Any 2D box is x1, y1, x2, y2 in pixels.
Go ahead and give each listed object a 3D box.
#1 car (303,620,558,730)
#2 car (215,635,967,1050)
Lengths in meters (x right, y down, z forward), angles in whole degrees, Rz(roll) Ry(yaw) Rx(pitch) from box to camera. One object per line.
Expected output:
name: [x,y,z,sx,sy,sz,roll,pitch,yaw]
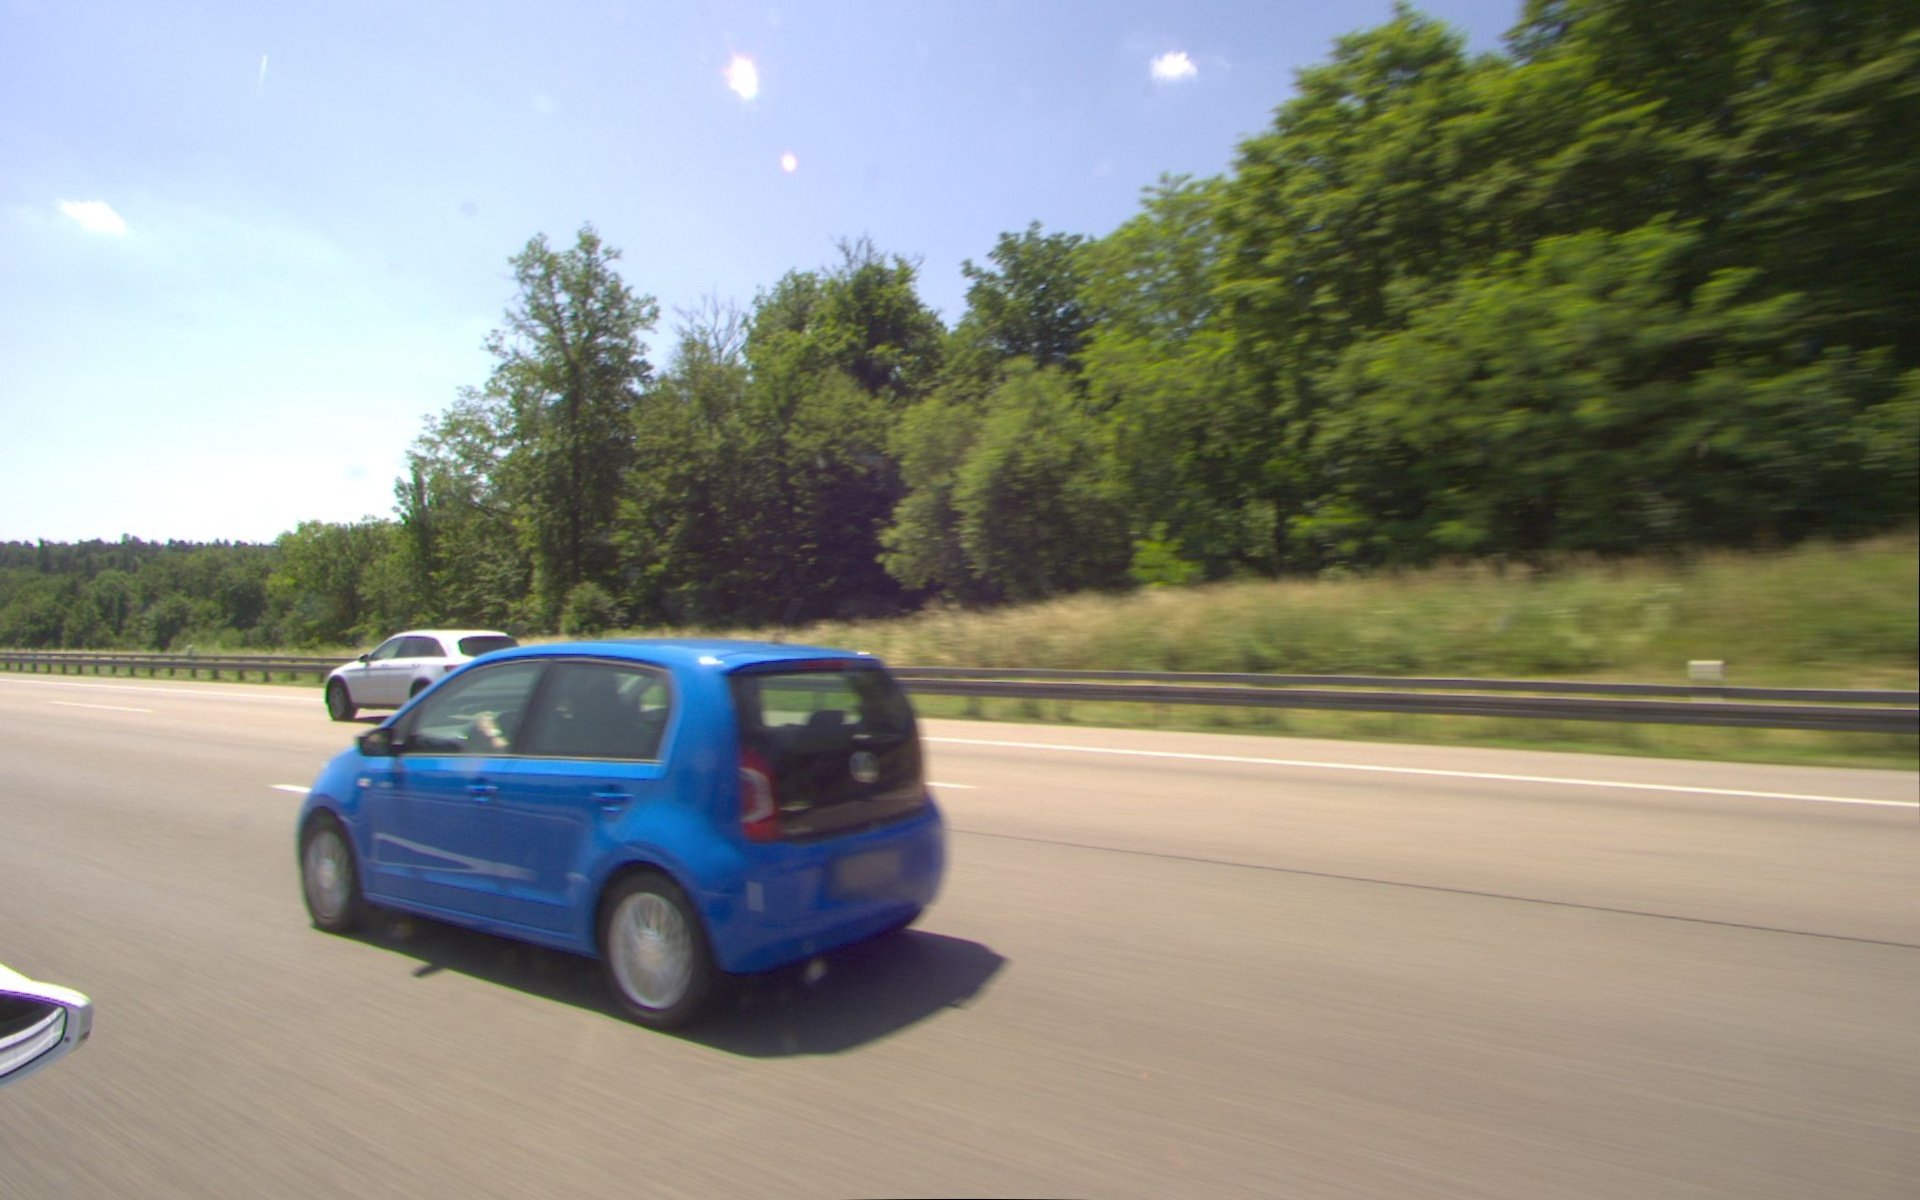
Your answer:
car: [-9.835,1.291,18.453,5.164,1.753,1.798,0,-2,32]
car: [-2.078,0.912,5.311,3.943,1.429,1.734,-1,-2,33]
